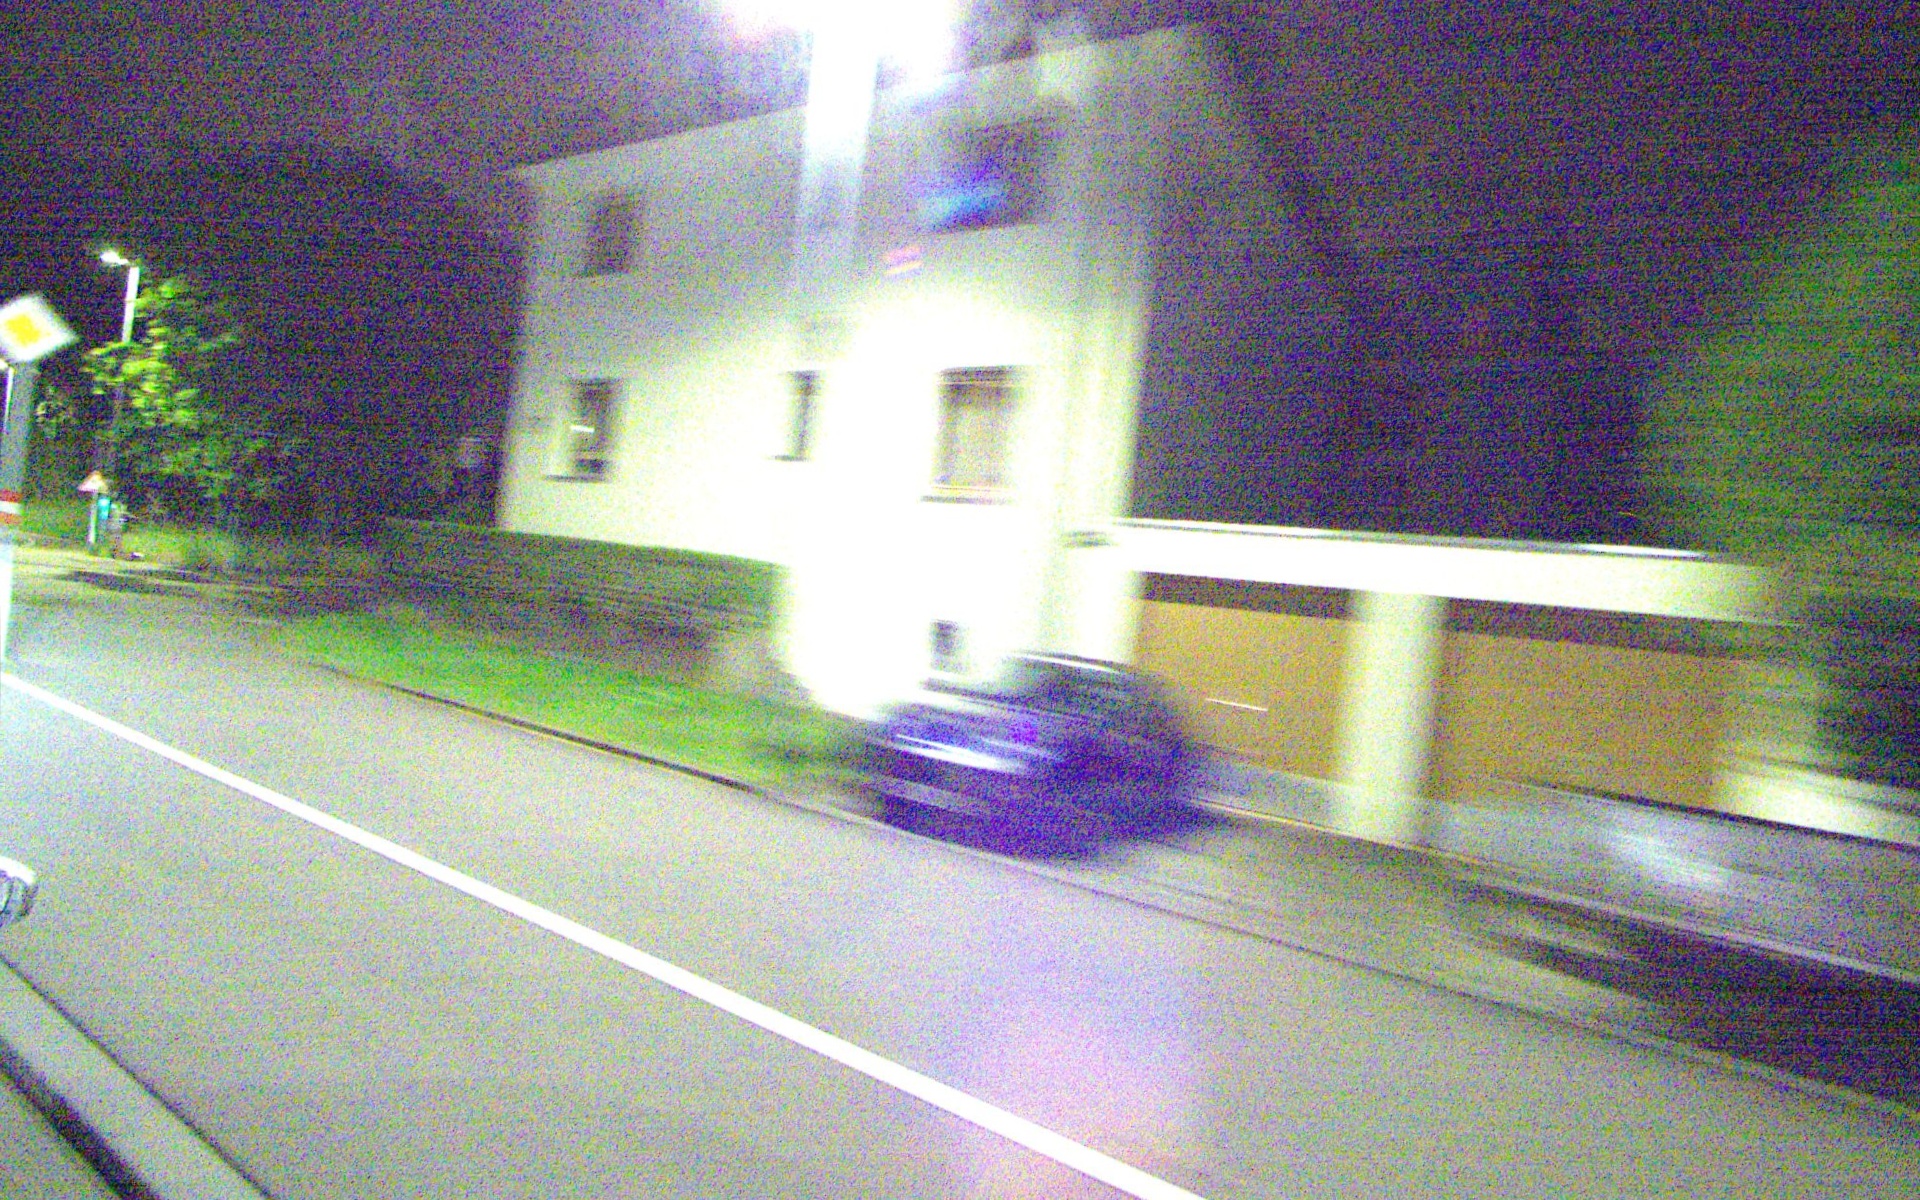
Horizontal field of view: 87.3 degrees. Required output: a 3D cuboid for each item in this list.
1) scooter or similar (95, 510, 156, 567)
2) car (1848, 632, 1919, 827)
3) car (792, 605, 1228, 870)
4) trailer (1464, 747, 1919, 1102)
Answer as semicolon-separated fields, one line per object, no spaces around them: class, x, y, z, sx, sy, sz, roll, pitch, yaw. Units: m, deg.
scooter or similar;-21.937;-1.622;26.424;1.662;1.297;0.612;7;0;30
car;12.389;1.670;10.321;4.431;2.038;1.996;7;0;32
car;0.593;0.944;7.327;1.695;1.245;3.401;8;-3;30
trailer;3.994;1.478;5.432;1.922;1.013;3.440;7;-3;32
